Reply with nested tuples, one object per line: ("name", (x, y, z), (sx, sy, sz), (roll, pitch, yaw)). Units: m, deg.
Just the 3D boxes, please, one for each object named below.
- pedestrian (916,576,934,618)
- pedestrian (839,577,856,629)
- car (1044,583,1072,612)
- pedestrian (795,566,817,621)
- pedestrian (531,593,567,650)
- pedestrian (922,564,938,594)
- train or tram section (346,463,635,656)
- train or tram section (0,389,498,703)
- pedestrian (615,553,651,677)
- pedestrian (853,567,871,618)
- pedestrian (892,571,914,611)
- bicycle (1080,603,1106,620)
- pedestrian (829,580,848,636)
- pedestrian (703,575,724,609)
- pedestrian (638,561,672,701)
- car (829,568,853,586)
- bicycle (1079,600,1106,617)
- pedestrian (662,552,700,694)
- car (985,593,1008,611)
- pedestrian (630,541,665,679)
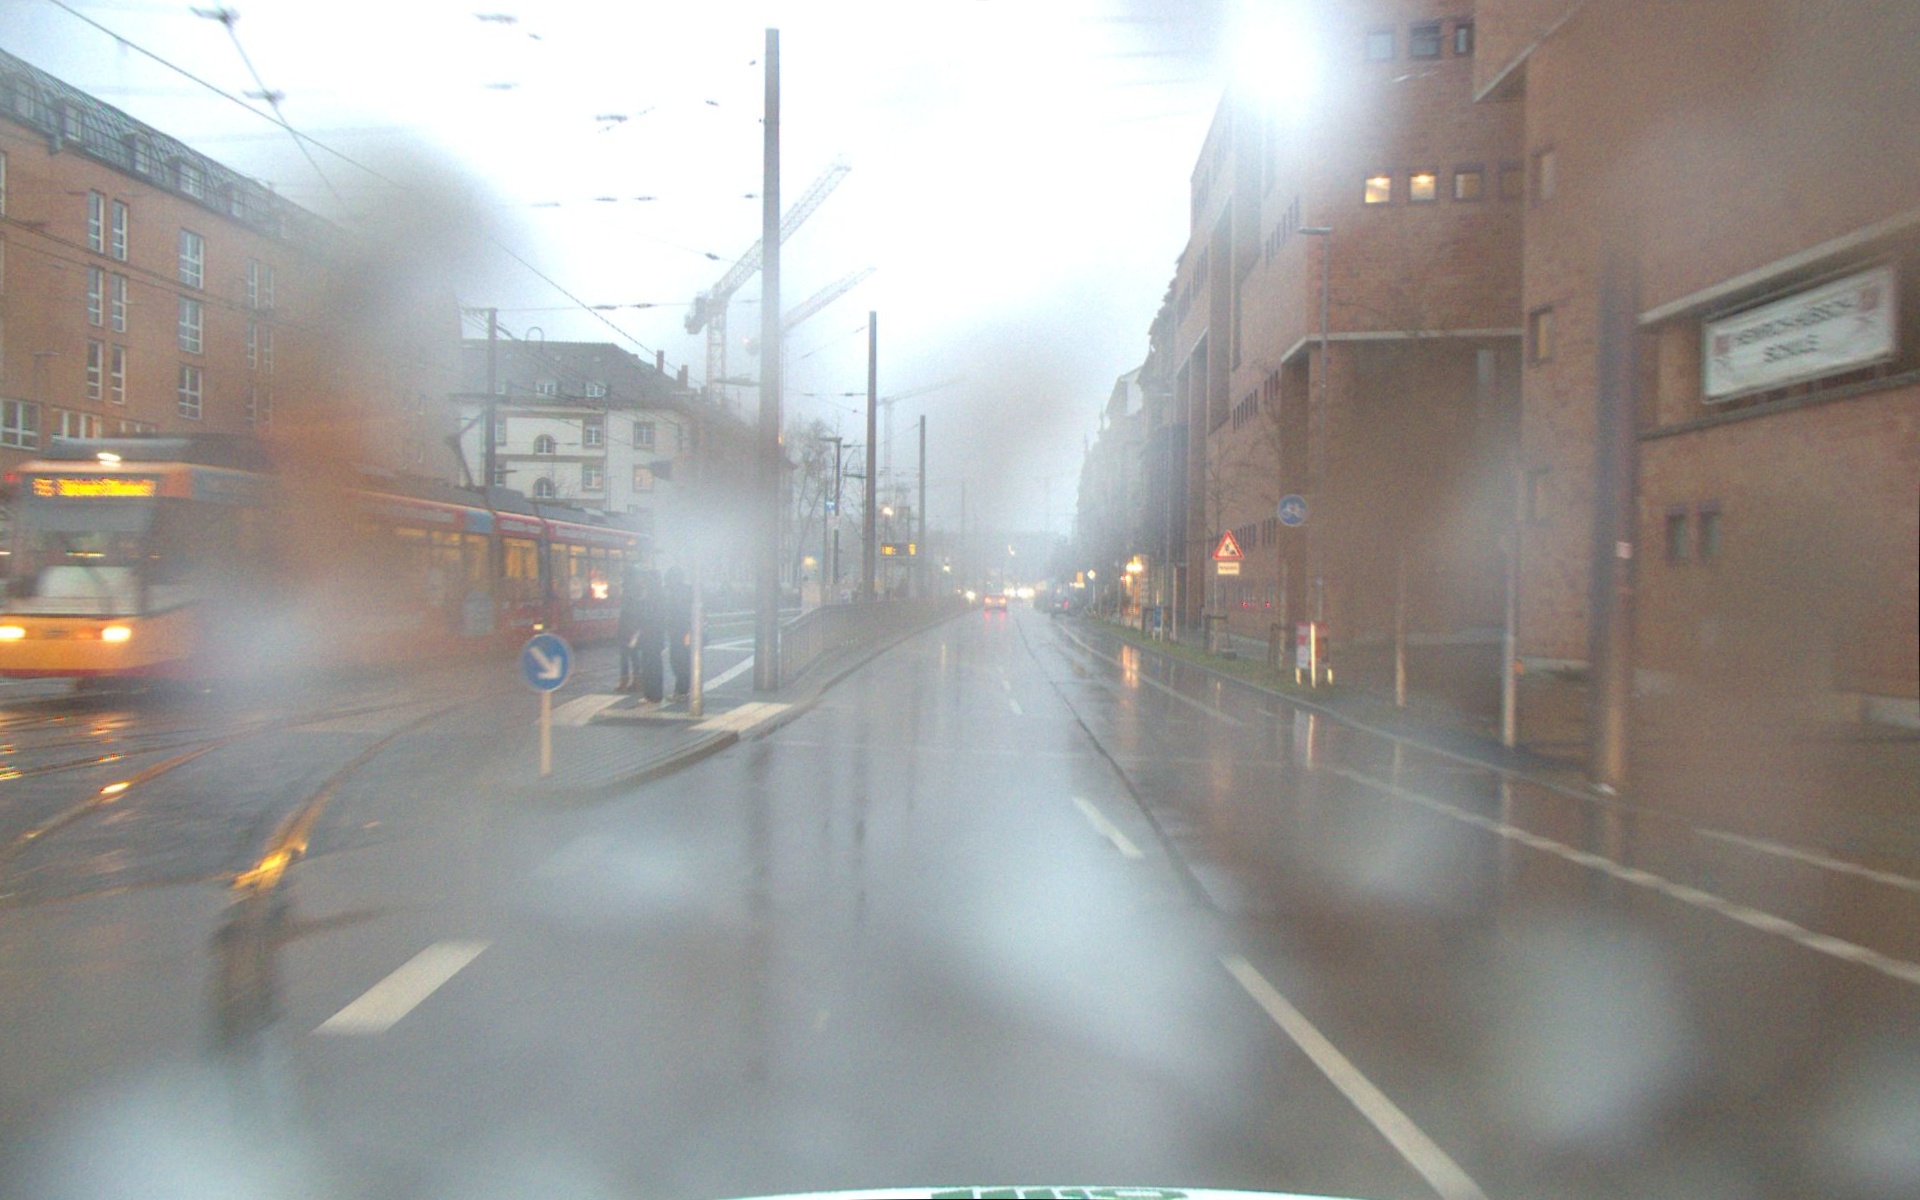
("pedestrian", (-1.679, -0.156, 79.155), (0.793, 1.981, 0.805), (1, 1, 2))
("pedestrian", (-3.770, 0.105, 55.468), (0.529, 1.721, 0.643), (1, 0, -1))
("car", (7.128, -0.173, 119.619), (1.952, 2.049, 4.002), (0, 1, 4))
("pedestrian", (-4.613, -0.189, 49.591), (0.605, 1.618, 0.622), (1, 0, -1))
("pedestrian", (-8.605, 0.450, 34.654), (0.568, 1.172, 0.490), (2, 0, 3))
("pedestrian", (-1.534, -1.072, 84.503), (0.667, 1.542, 0.617), (1, 0, -10))
("train or tram section", (-10.165, -0.837, 37.484), (2.864, 3.640, 11.039), (2, 1, 2))
("train or tram section", (-10.672, -0.716, 25.774), (2.889, 3.651, 12.259), (2, 1, 2))
("pedestrian", (-4.710, 0.215, 23.823), (0.424, 1.765, 0.473), (1, 0, -3))
("pedestrian", (-3.166, -0.232, 53.267), (0.529, 1.618, 0.563), (1, 0, -1))
("pedestrian", (-2.471, -0.398, 72.091), (0.763, 1.733, 0.770), (1, 0, -16))
("bicycle", (8.628, 0.740, 107.286), (1.694, 1.073, 0.371), (-1, 0, 1))
("pedestrian", (-3.550, 0.225, 48.325), (0.471, 1.618, 0.563), (1, 0, -1))
("pedestrian", (-11.656, -0.374, 78.140), (0.630, 1.551, 0.746), (2, 0, -40))
("pedestrian", (-3.991, 0.401, 21.675), (0.352, 1.818, 0.440), (1, 0, -3))
("car", (-9.773, -1.893, 135.886), (1.647, 1.378, 3.546), (2, 0, 1))
("bicycle", (8.635, 0.545, 107.775), (1.694, 1.073, 0.371), (-1, 0, 1))
("pedestrian", (-3.741, 0.302, 22.203), (0.404, 1.877, 0.669), (1, 0, -3))
("car", (3.053, 0.150, 136.380), (1.746, 1.492, 3.150), (0, 1, 4))
("pedestrian", (-4.592, 0.142, 24.324), (0.424, 2.001, 0.473), (1, 0, -3))
